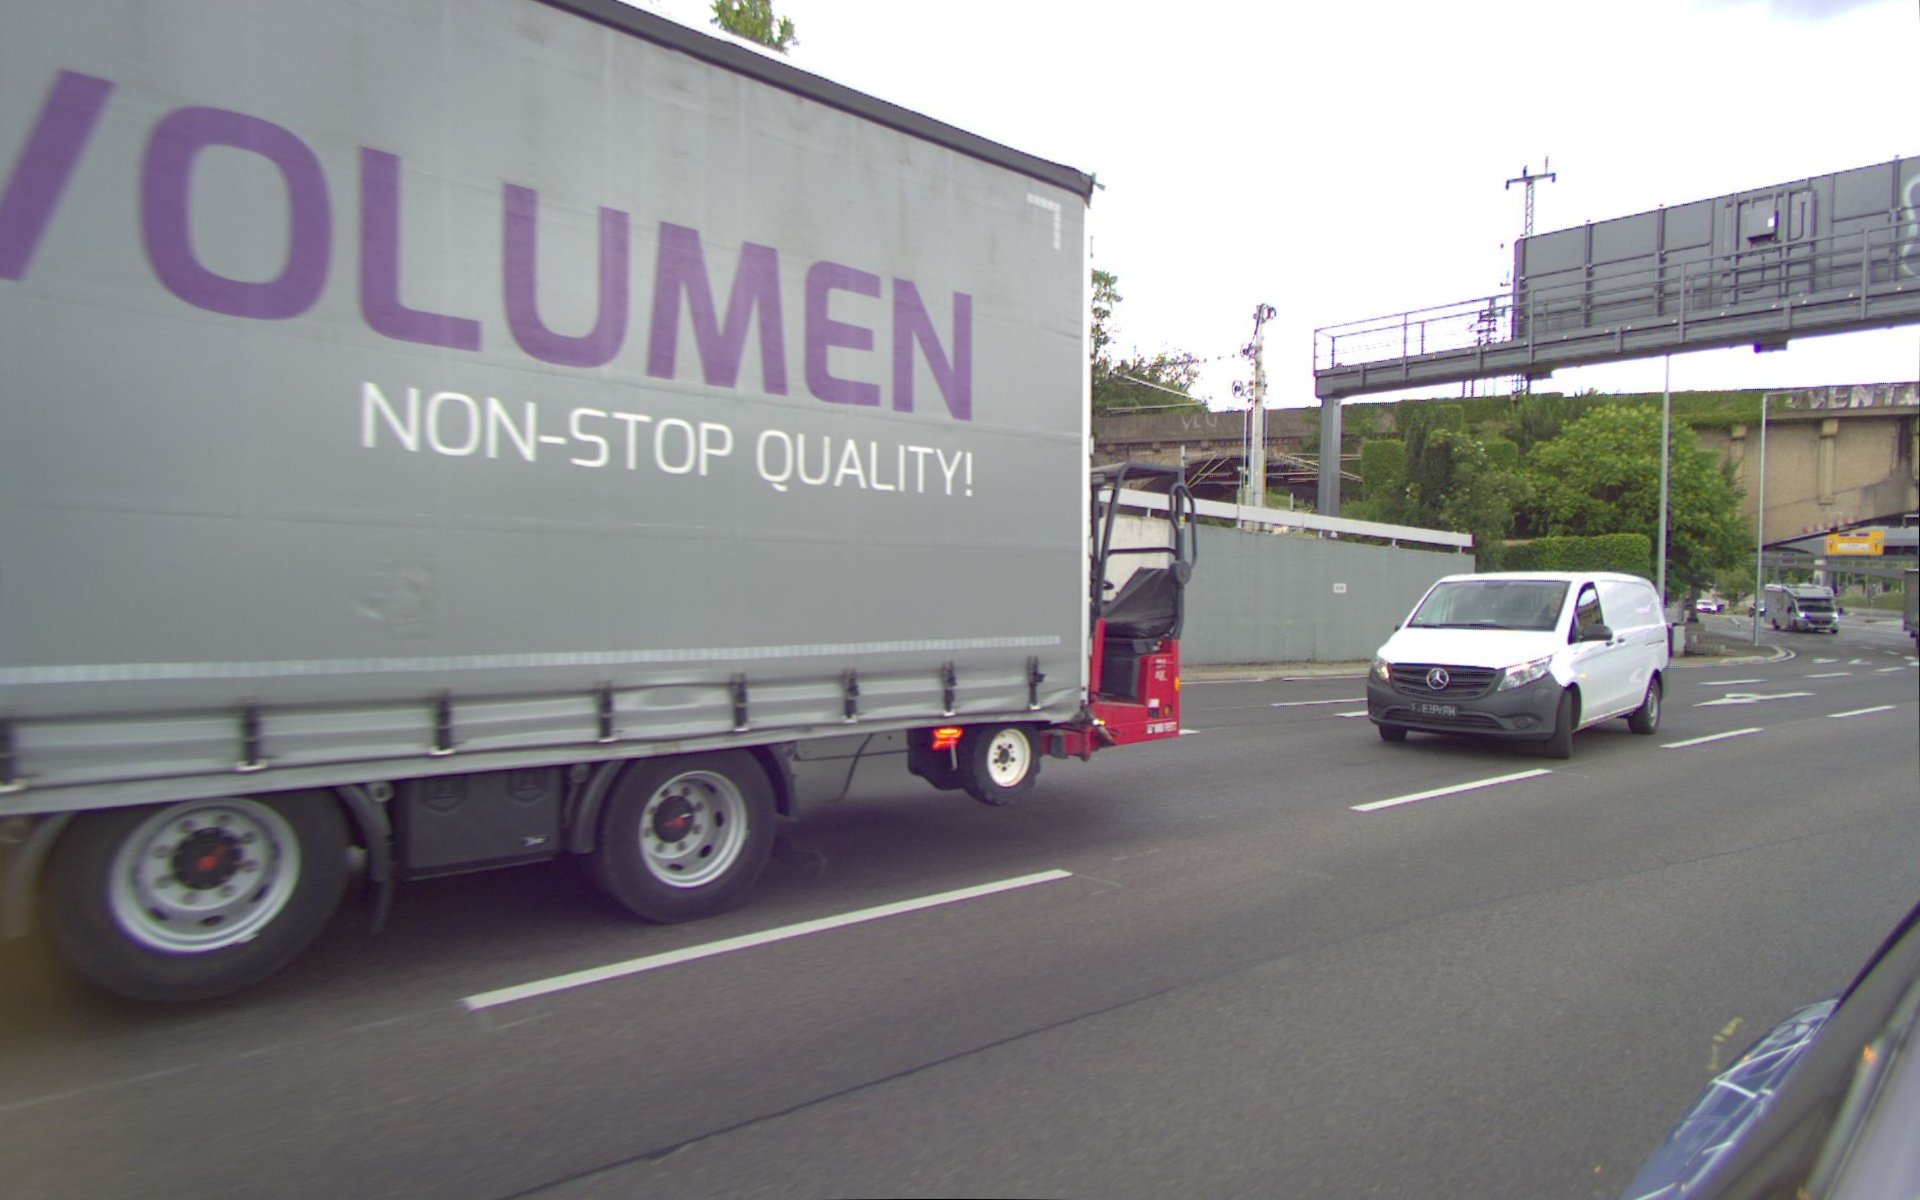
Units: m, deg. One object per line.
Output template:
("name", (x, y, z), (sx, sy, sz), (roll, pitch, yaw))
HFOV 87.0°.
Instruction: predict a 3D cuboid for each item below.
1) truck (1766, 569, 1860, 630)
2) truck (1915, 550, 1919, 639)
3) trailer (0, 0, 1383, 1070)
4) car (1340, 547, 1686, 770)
("truck", (53.834, -0.049, 64.121), (2.551, 3.614, 9.029), (0, 0, 27))
("truck", (38.809, -0.100, 38.691), (3.022, 3.633, 8.813), (-3, -2, 42))
("trailer", (-1.992, -0.692, 6.108), (10.784, 4.194, 3.733), (0, -1, -39))
("car", (6.514, 0.534, 11.610), (5.111, 2.015, 1.995), (0, -1, -43))
